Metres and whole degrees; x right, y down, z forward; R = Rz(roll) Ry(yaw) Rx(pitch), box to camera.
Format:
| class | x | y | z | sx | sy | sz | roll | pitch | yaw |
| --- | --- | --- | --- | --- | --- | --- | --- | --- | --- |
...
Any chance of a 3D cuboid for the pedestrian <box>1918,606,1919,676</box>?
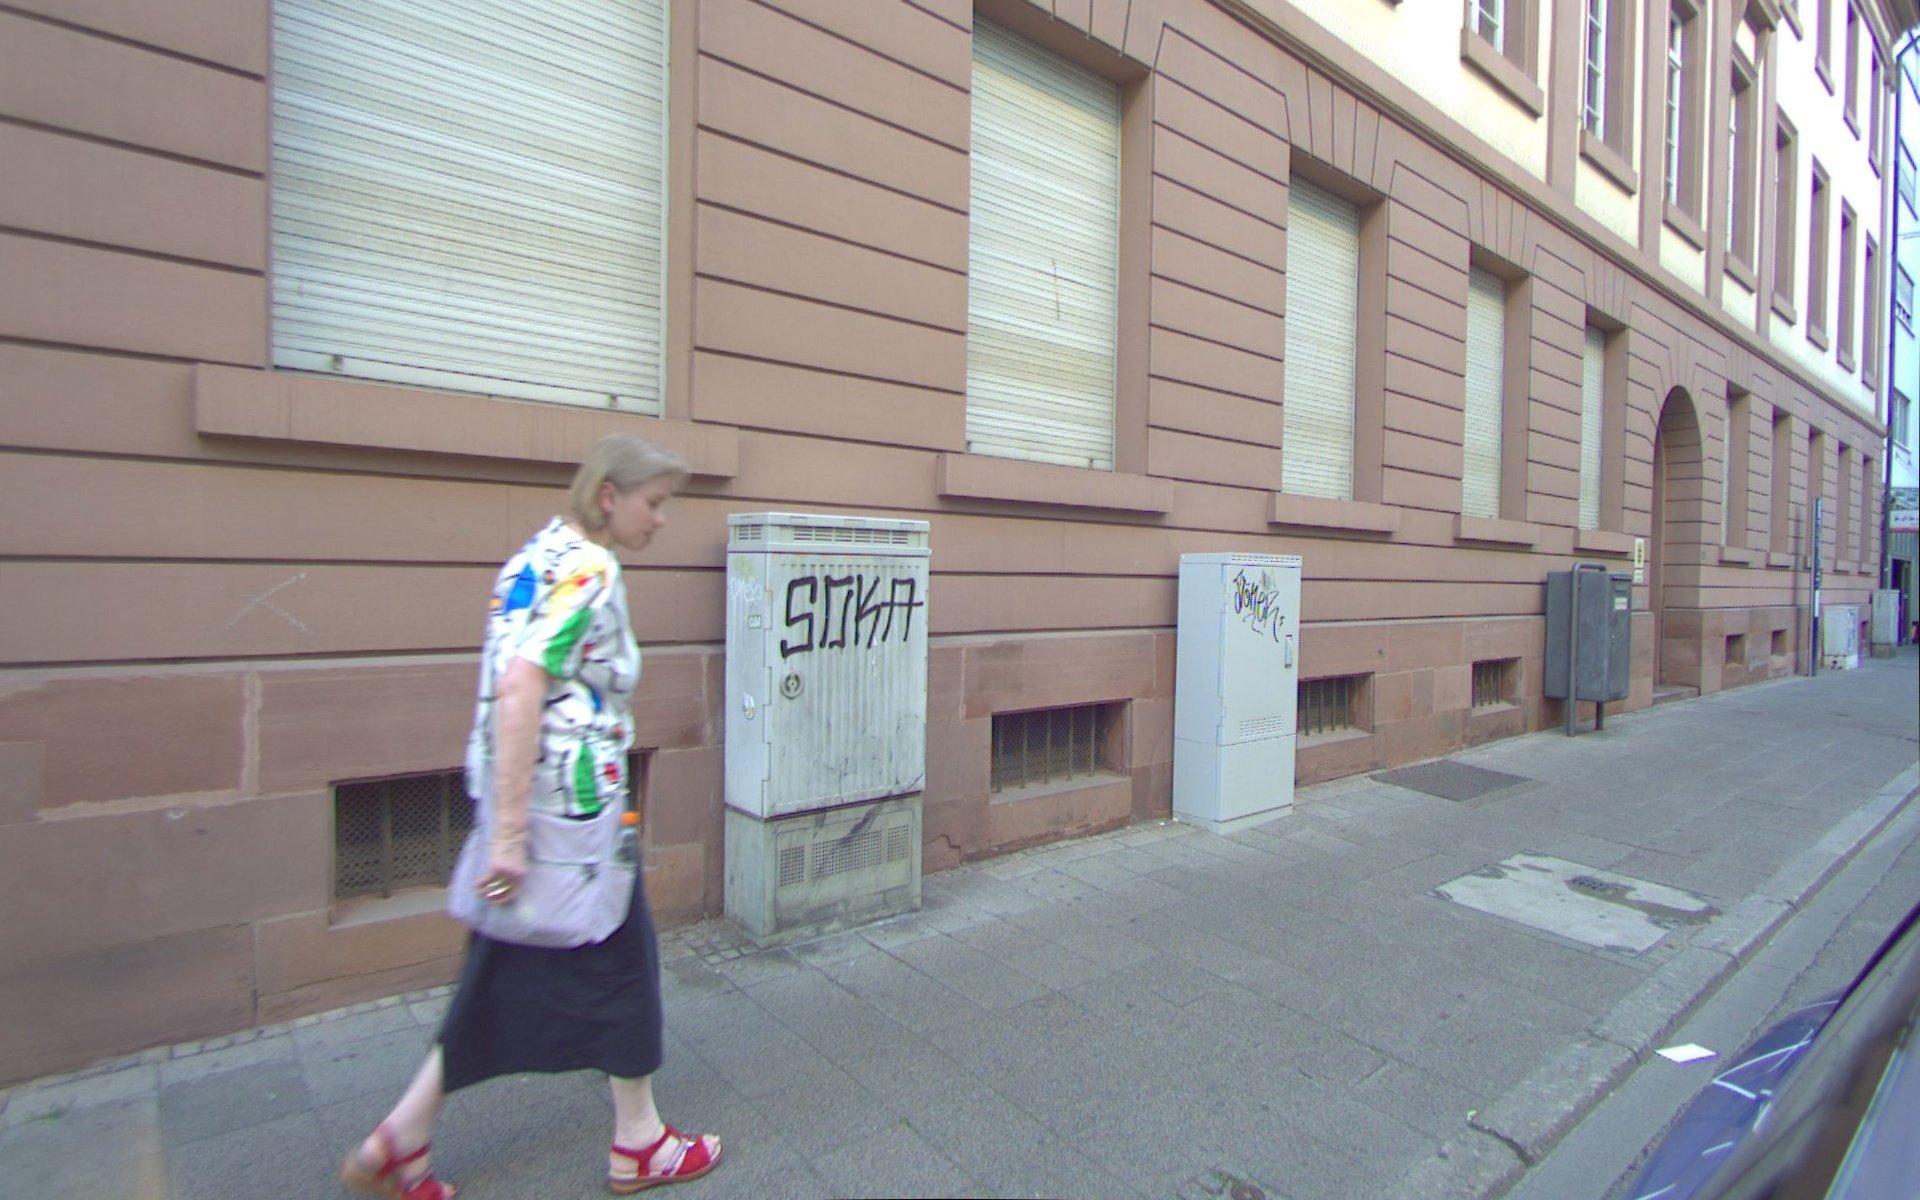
| class | x | y | z | sx | sy | sz | roll | pitch | yaw |
| --- | --- | --- | --- | --- | --- | --- | --- | --- | --- |
| pedestrian | 25.363 | 1.073 | 26.299 | 0.592 | 1.794 | 0.639 | 0 | 1 | -45 |

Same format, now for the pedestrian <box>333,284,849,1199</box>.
| class | x | y | z | sx | sy | sz | roll | pitch | yaw |
| --- | --- | --- | --- | --- | --- | --- | --- | --- | --- |
| pedestrian | -0.869 | 0.365 | 2.284 | 0.880 | 1.825 | 0.848 | 0 | 4 | -35 |
